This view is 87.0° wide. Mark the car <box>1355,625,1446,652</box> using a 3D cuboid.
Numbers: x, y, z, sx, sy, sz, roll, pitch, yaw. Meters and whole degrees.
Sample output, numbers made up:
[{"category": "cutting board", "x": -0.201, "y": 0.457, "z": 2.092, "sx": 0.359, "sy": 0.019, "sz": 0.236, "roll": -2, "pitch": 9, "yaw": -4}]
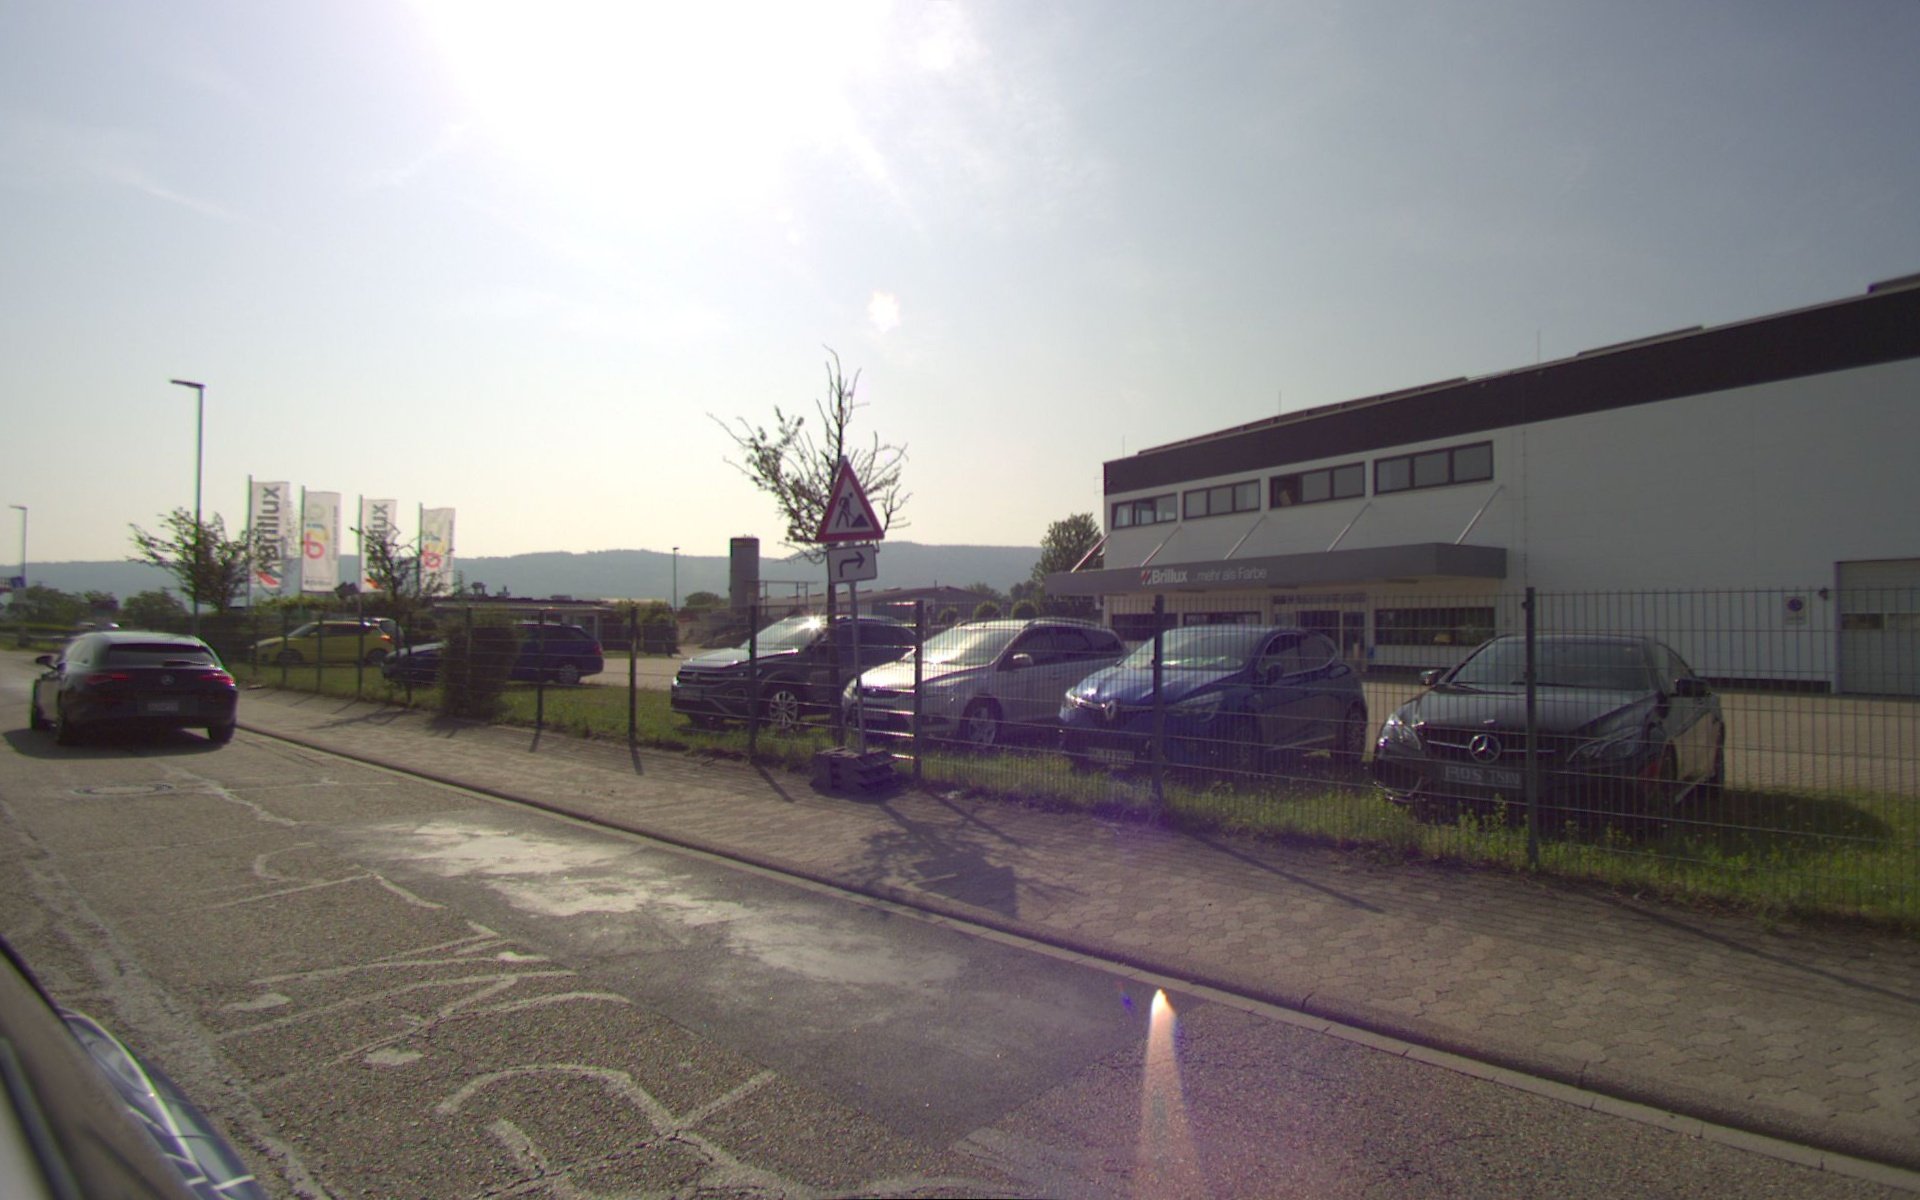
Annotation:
[{"category": "car", "x": 28.404, "y": 2.475, "z": 65.327, "sx": 5.060, "sy": 1.715, "sz": 1.972, "roll": -1, "pitch": -3, "yaw": 42}]

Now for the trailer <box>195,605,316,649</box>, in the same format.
[{"category": "trailer", "x": -45.701, "y": 1.830, "z": 65.859, "sx": 6.221, "sy": 2.625, "sz": 2.861, "roll": 3, "pitch": -3, "yaw": -34}]

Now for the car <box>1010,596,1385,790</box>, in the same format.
[{"category": "car", "x": 2.456, "y": 0.826, "z": 9.749, "sx": 1.873, "sy": 1.455, "sz": 3.997, "roll": -1, "pitch": -4, "yaw": 41}]

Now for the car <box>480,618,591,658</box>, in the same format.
[{"category": "car", "x": -19.784, "y": 1.788, "z": 47.143, "sx": 4.584, "sy": 1.765, "sz": 2.158, "roll": 1, "pitch": -2, "yaw": -27}]

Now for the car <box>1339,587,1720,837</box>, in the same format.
[{"category": "car", "x": 4.698, "y": 0.780, "z": 8.064, "sx": 1.873, "sy": 1.455, "sz": 3.997, "roll": -1, "pitch": -4, "yaw": 41}]

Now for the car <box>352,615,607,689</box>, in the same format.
[{"category": "car", "x": -10.514, "y": 1.167, "z": 22.422, "sx": 2.077, "sy": 1.455, "sz": 4.636, "roll": -1, "pitch": -4, "yaw": 41}]

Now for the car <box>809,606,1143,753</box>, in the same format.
[{"category": "car", "x": 0.346, "y": 0.919, "z": 12.190, "sx": 1.873, "sy": 1.455, "sz": 3.997, "roll": -1, "pitch": -4, "yaw": 41}]

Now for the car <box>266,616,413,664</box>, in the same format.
[{"category": "car", "x": -23.145, "y": 1.480, "z": 37.816, "sx": 4.456, "sy": 1.708, "sz": 1.954, "roll": 0, "pitch": 0, "yaw": 7}]

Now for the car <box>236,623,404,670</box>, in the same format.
[{"category": "car", "x": -20.104, "y": 1.445, "z": 31.908, "sx": 1.868, "sy": 1.379, "sz": 4.118, "roll": -1, "pitch": -3, "yaw": 43}]

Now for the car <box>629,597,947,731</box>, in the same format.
[{"category": "car", "x": -2.243, "y": 0.882, "z": 14.076, "sx": 1.864, "sy": 1.579, "sz": 4.083, "roll": -1, "pitch": -4, "yaw": 41}]

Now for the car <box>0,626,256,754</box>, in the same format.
[{"category": "car", "x": -11.465, "y": 1.140, "z": 13.793, "sx": 4.417, "sy": 1.460, "sz": 1.973, "roll": -1, "pitch": -5, "yaw": 41}]

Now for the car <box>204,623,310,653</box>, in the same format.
[{"category": "car", "x": -43.666, "y": 2.394, "z": 62.947, "sx": 5.197, "sy": 1.719, "sz": 2.003, "roll": 4, "pitch": -4, "yaw": -41}]
